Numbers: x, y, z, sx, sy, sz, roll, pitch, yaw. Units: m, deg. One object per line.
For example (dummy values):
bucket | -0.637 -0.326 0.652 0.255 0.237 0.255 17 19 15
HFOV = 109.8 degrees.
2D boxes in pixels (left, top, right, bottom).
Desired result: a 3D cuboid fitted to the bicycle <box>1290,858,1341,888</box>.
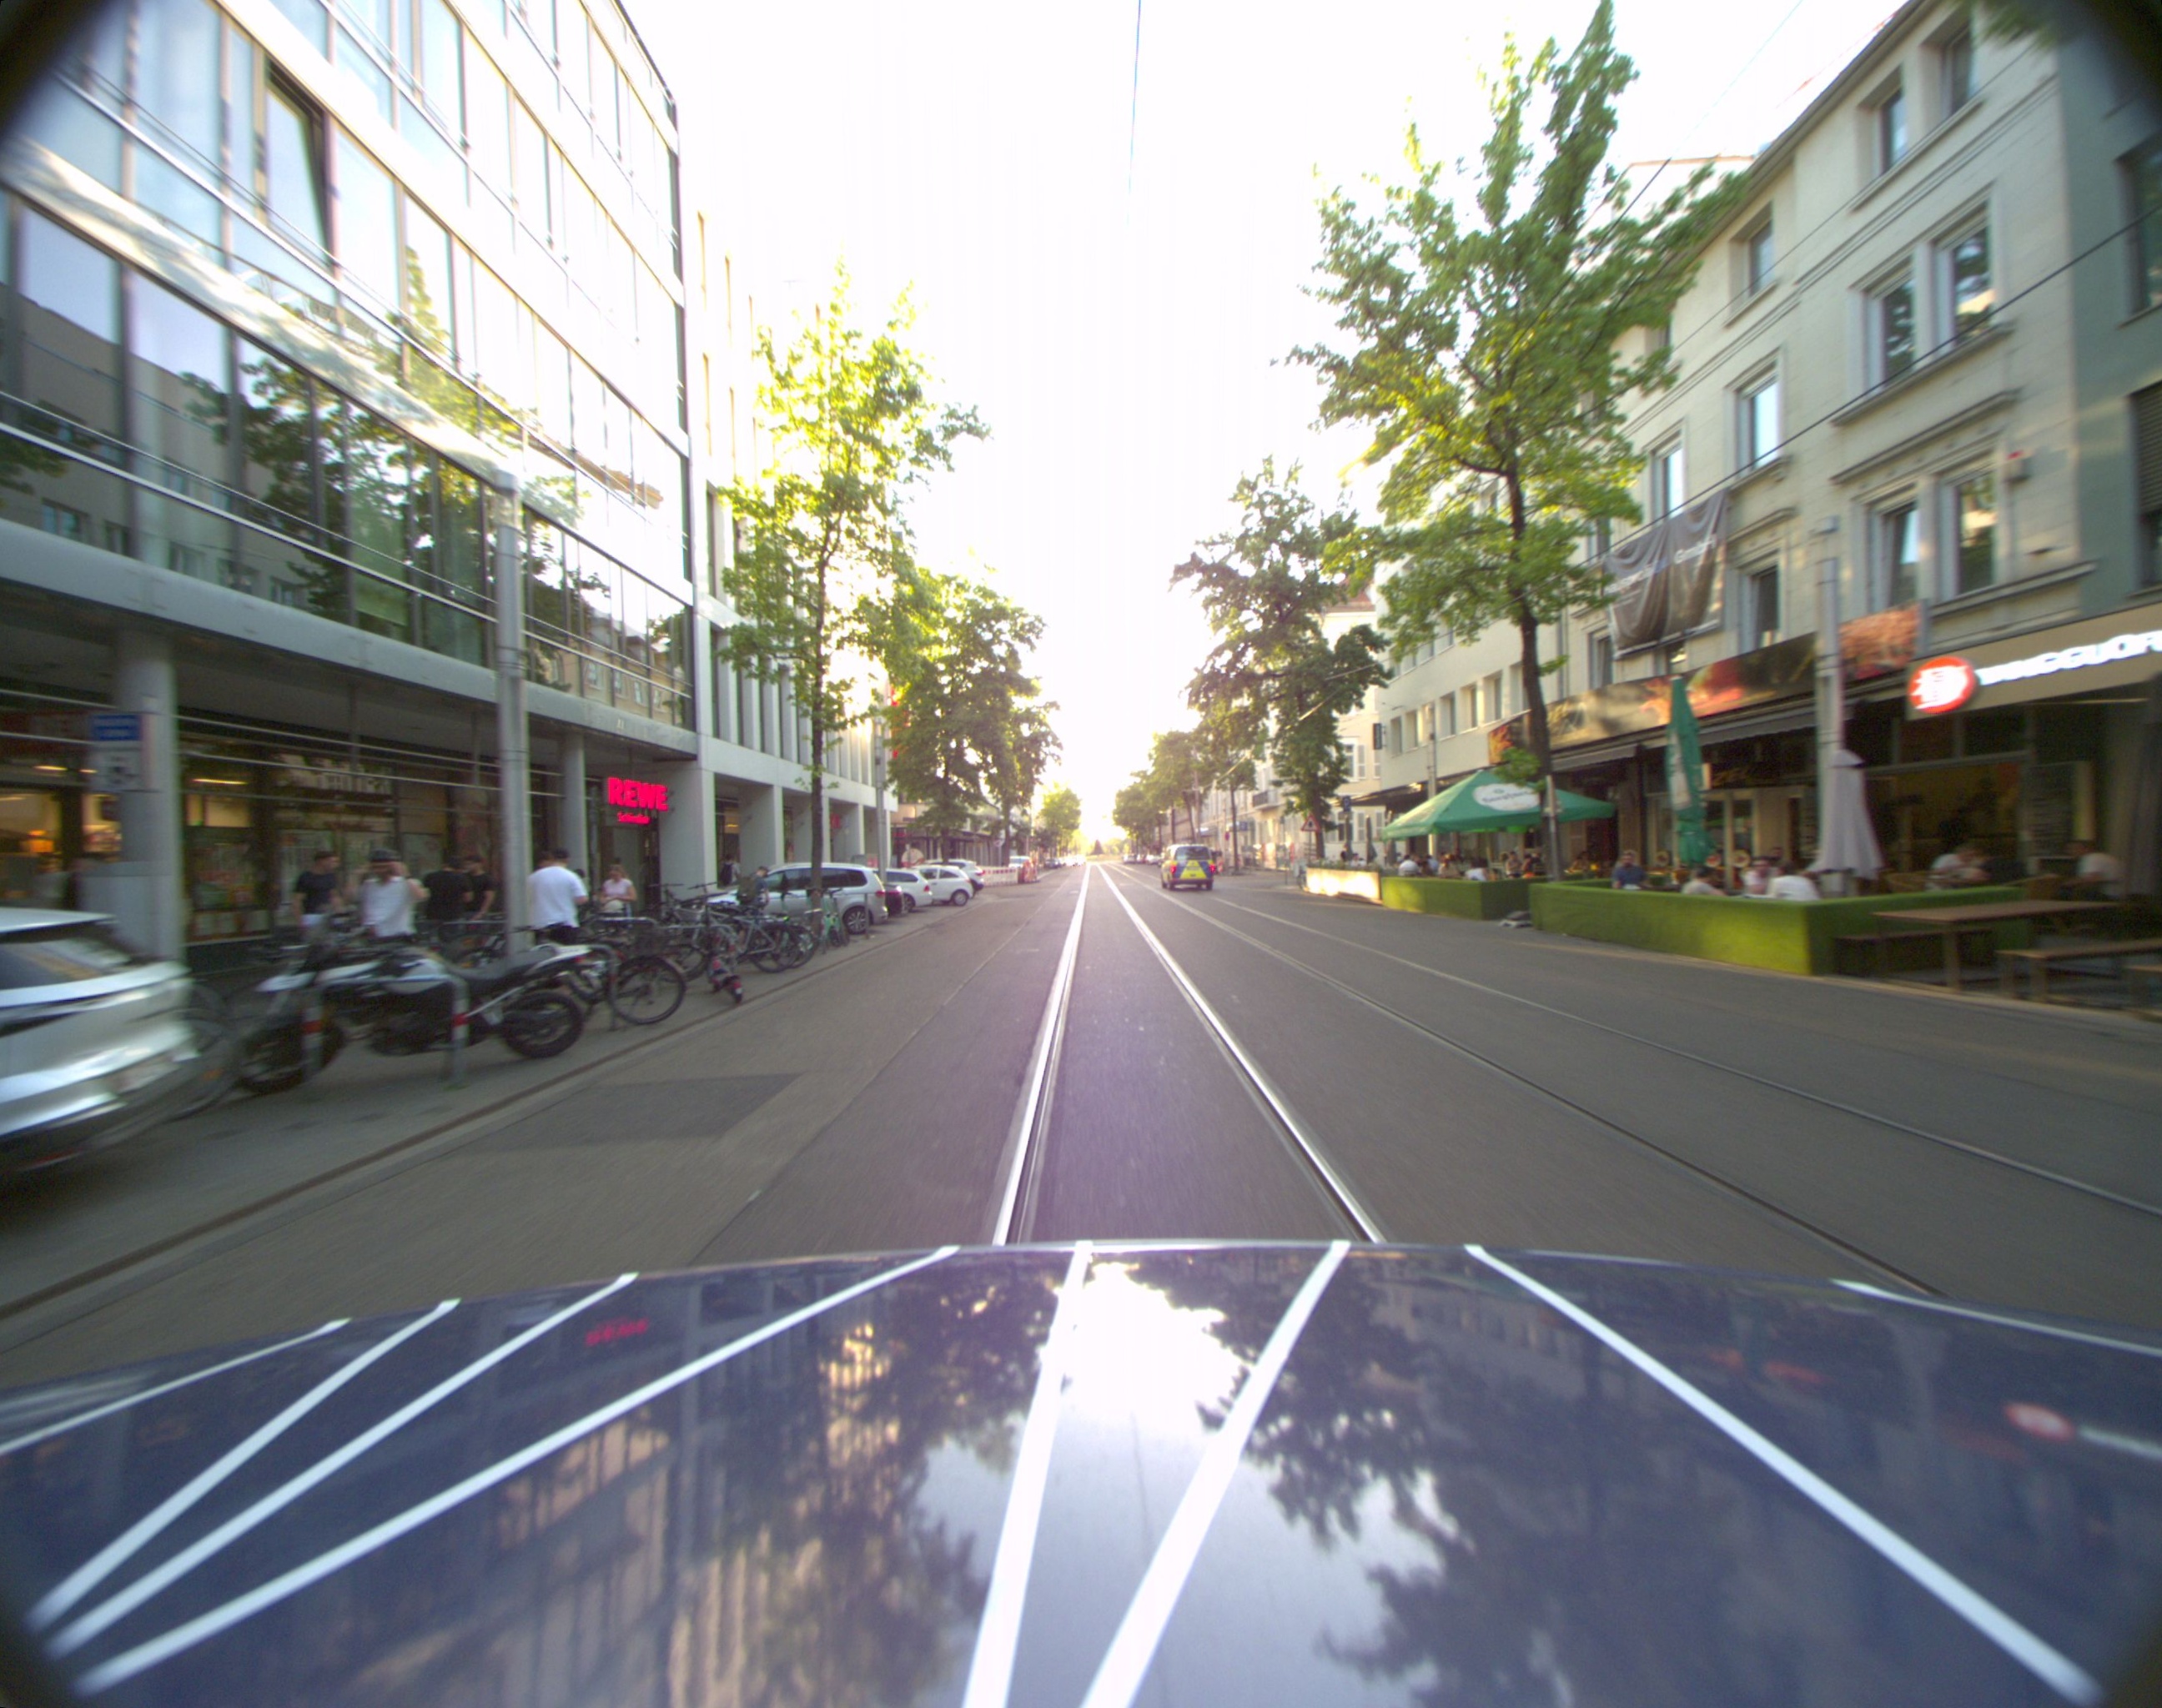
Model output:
bicycle | 9.734 0.787 31.543 1.865 1.132 0.626 -2 1 -2

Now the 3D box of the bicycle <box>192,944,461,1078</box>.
bicycle | -6.711 1.363 6.872 1.599 1.027 0.552 3 -1 -29

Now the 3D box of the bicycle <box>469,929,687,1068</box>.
bicycle | -5.006 1.393 7.698 1.752 1.110 0.805 0 0 -31

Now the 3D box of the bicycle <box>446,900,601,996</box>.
bicycle | -7.733 1.262 10.611 1.699 1.182 0.553 1 -1 -37

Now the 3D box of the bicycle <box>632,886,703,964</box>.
bicycle | -7.512 1.246 13.772 1.590 1.281 0.581 0 -1 40

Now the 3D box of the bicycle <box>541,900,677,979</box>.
bicycle | -7.228 1.291 11.693 1.696 1.143 0.501 1 0 -14

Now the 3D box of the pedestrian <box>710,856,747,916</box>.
pedestrian | -10.677 0.969 23.059 0.681 1.760 0.806 -2 -1 0

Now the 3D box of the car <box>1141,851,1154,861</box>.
car | 11.333 0.299 128.889 1.998 1.567 4.105 -2 0 3

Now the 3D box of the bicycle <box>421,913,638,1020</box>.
bicycle | -6.591 1.315 9.204 2.002 1.141 0.697 1 0 -17

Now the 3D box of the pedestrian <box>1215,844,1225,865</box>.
pedestrian | 12.515 0.045 68.367 0.679 1.874 0.769 -4 1 2

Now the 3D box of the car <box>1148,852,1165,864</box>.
car | 10.726 0.565 108.630 1.998 1.494 4.105 -2 0 1

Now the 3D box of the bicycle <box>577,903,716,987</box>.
bicycle | -6.298 1.296 11.097 1.688 1.132 0.478 1 0 -19

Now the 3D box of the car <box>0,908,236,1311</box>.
car | -6.744 1.098 2.897 4.352 1.554 1.872 1 0 -32

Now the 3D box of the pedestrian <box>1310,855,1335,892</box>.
pedestrian | 9.269 0.735 29.150 0.694 1.369 0.792 -2 1 3

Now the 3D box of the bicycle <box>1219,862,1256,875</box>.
bicycle | 10.263 0.938 50.022 2.076 0.702 1.330 -2 0 -5

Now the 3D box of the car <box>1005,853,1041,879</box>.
car | -4.173 0.857 55.040 1.998 1.760 4.671 1 0 3

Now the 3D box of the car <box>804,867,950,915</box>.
car | -6.574 1.147 24.459 4.355 1.414 1.825 1 0 -22

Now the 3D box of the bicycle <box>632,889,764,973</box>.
bicycle | -6.200 1.224 12.403 1.835 1.266 0.680 1 0 -18

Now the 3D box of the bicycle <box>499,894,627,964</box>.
bicycle | -9.294 1.309 13.736 0.572 1.076 1.886 0 0 23

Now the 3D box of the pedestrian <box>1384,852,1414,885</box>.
pedestrian | 13.211 0.602 31.615 0.887 1.312 0.882 -2 1 4

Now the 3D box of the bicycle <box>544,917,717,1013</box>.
bicycle | -5.717 1.375 9.738 1.836 1.069 0.622 1 -1 -31

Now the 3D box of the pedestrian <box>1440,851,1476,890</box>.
pedestrian | 13.195 0.560 26.625 0.849 1.312 0.882 -2 1 5

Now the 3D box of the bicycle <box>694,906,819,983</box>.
bicycle | -5.036 1.374 11.827 1.751 1.070 0.493 0 0 -29

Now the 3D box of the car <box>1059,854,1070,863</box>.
car | -2.876 0.798 132.283 1.686 1.471 3.846 -2 0 0

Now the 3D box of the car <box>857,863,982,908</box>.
car | -5.838 1.106 27.565 4.075 1.492 1.791 1 1 -29

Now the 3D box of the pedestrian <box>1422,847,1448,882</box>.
pedestrian | 13.829 0.407 29.698 0.623 1.312 0.842 -2 1 4

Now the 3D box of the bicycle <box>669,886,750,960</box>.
bicycle | -6.851 1.226 13.988 1.657 1.242 0.642 0 -1 37

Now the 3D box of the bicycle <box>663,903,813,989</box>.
bicycle | -5.140 1.338 11.413 1.997 1.123 0.679 1 0 -29

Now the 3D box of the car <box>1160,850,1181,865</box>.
car | 10.562 0.369 90.286 1.998 1.727 4.105 -2 0 1

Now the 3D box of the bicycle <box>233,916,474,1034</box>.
bicycle | -8.222 1.327 8.721 1.836 1.088 0.822 -1 0 -30

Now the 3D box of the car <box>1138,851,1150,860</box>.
car | 11.205 0.294 134.891 1.998 1.540 4.105 -2 0 3

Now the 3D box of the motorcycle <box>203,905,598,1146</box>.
motorcycle | -5.193 1.186 6.002 2.210 1.463 0.794 0 -1 -43

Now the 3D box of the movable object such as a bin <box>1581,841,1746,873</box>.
movable object such as a bin | 33.340 0.139 43.661 7.288 1.655 2.899 -1 1 -1

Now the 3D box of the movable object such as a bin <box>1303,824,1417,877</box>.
movable object such as a bin | 16.029 -0.201 43.924 5.561 2.856 2.643 -1 1 -1

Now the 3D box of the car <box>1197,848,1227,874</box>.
car | 9.972 0.505 58.130 1.772 1.754 3.879 -4 0 4

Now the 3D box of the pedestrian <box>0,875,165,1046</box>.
pedestrian | -10.573 1.086 8.060 0.681 1.689 0.806 -2 -1 0

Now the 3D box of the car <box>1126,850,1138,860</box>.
car | 8.759 0.191 130.751 1.998 1.727 4.105 -2 0 3

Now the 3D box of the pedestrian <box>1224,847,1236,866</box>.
pedestrian | 13.432 0.209 68.479 0.886 1.646 0.762 -2 1 -1

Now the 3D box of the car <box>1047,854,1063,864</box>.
car | -3.388 0.622 100.050 2.002 1.354 4.105 0 0 1

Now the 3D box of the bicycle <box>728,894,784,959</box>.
bicycle | -6.213 1.343 14.475 0.632 1.070 1.875 1 -1 -35

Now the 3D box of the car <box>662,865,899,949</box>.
car | -6.731 1.087 17.242 4.684 1.630 1.950 0 0 -35

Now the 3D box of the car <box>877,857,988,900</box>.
car | -6.312 1.008 32.181 4.278 1.662 1.948 1 1 -24

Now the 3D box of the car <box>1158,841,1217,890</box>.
car | 4.677 0.480 34.034 1.998 1.965 4.849 -2 0 1

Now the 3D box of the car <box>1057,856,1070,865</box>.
car | -2.544 0.963 110.117 1.738 1.311 4.104 0 0 0

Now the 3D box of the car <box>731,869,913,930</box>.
car | -6.851 1.164 20.266 4.355 1.414 1.951 1 1 -21

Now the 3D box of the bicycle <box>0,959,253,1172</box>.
bicycle | -6.817 1.364 4.938 1.753 1.111 0.916 -1 1 -33
